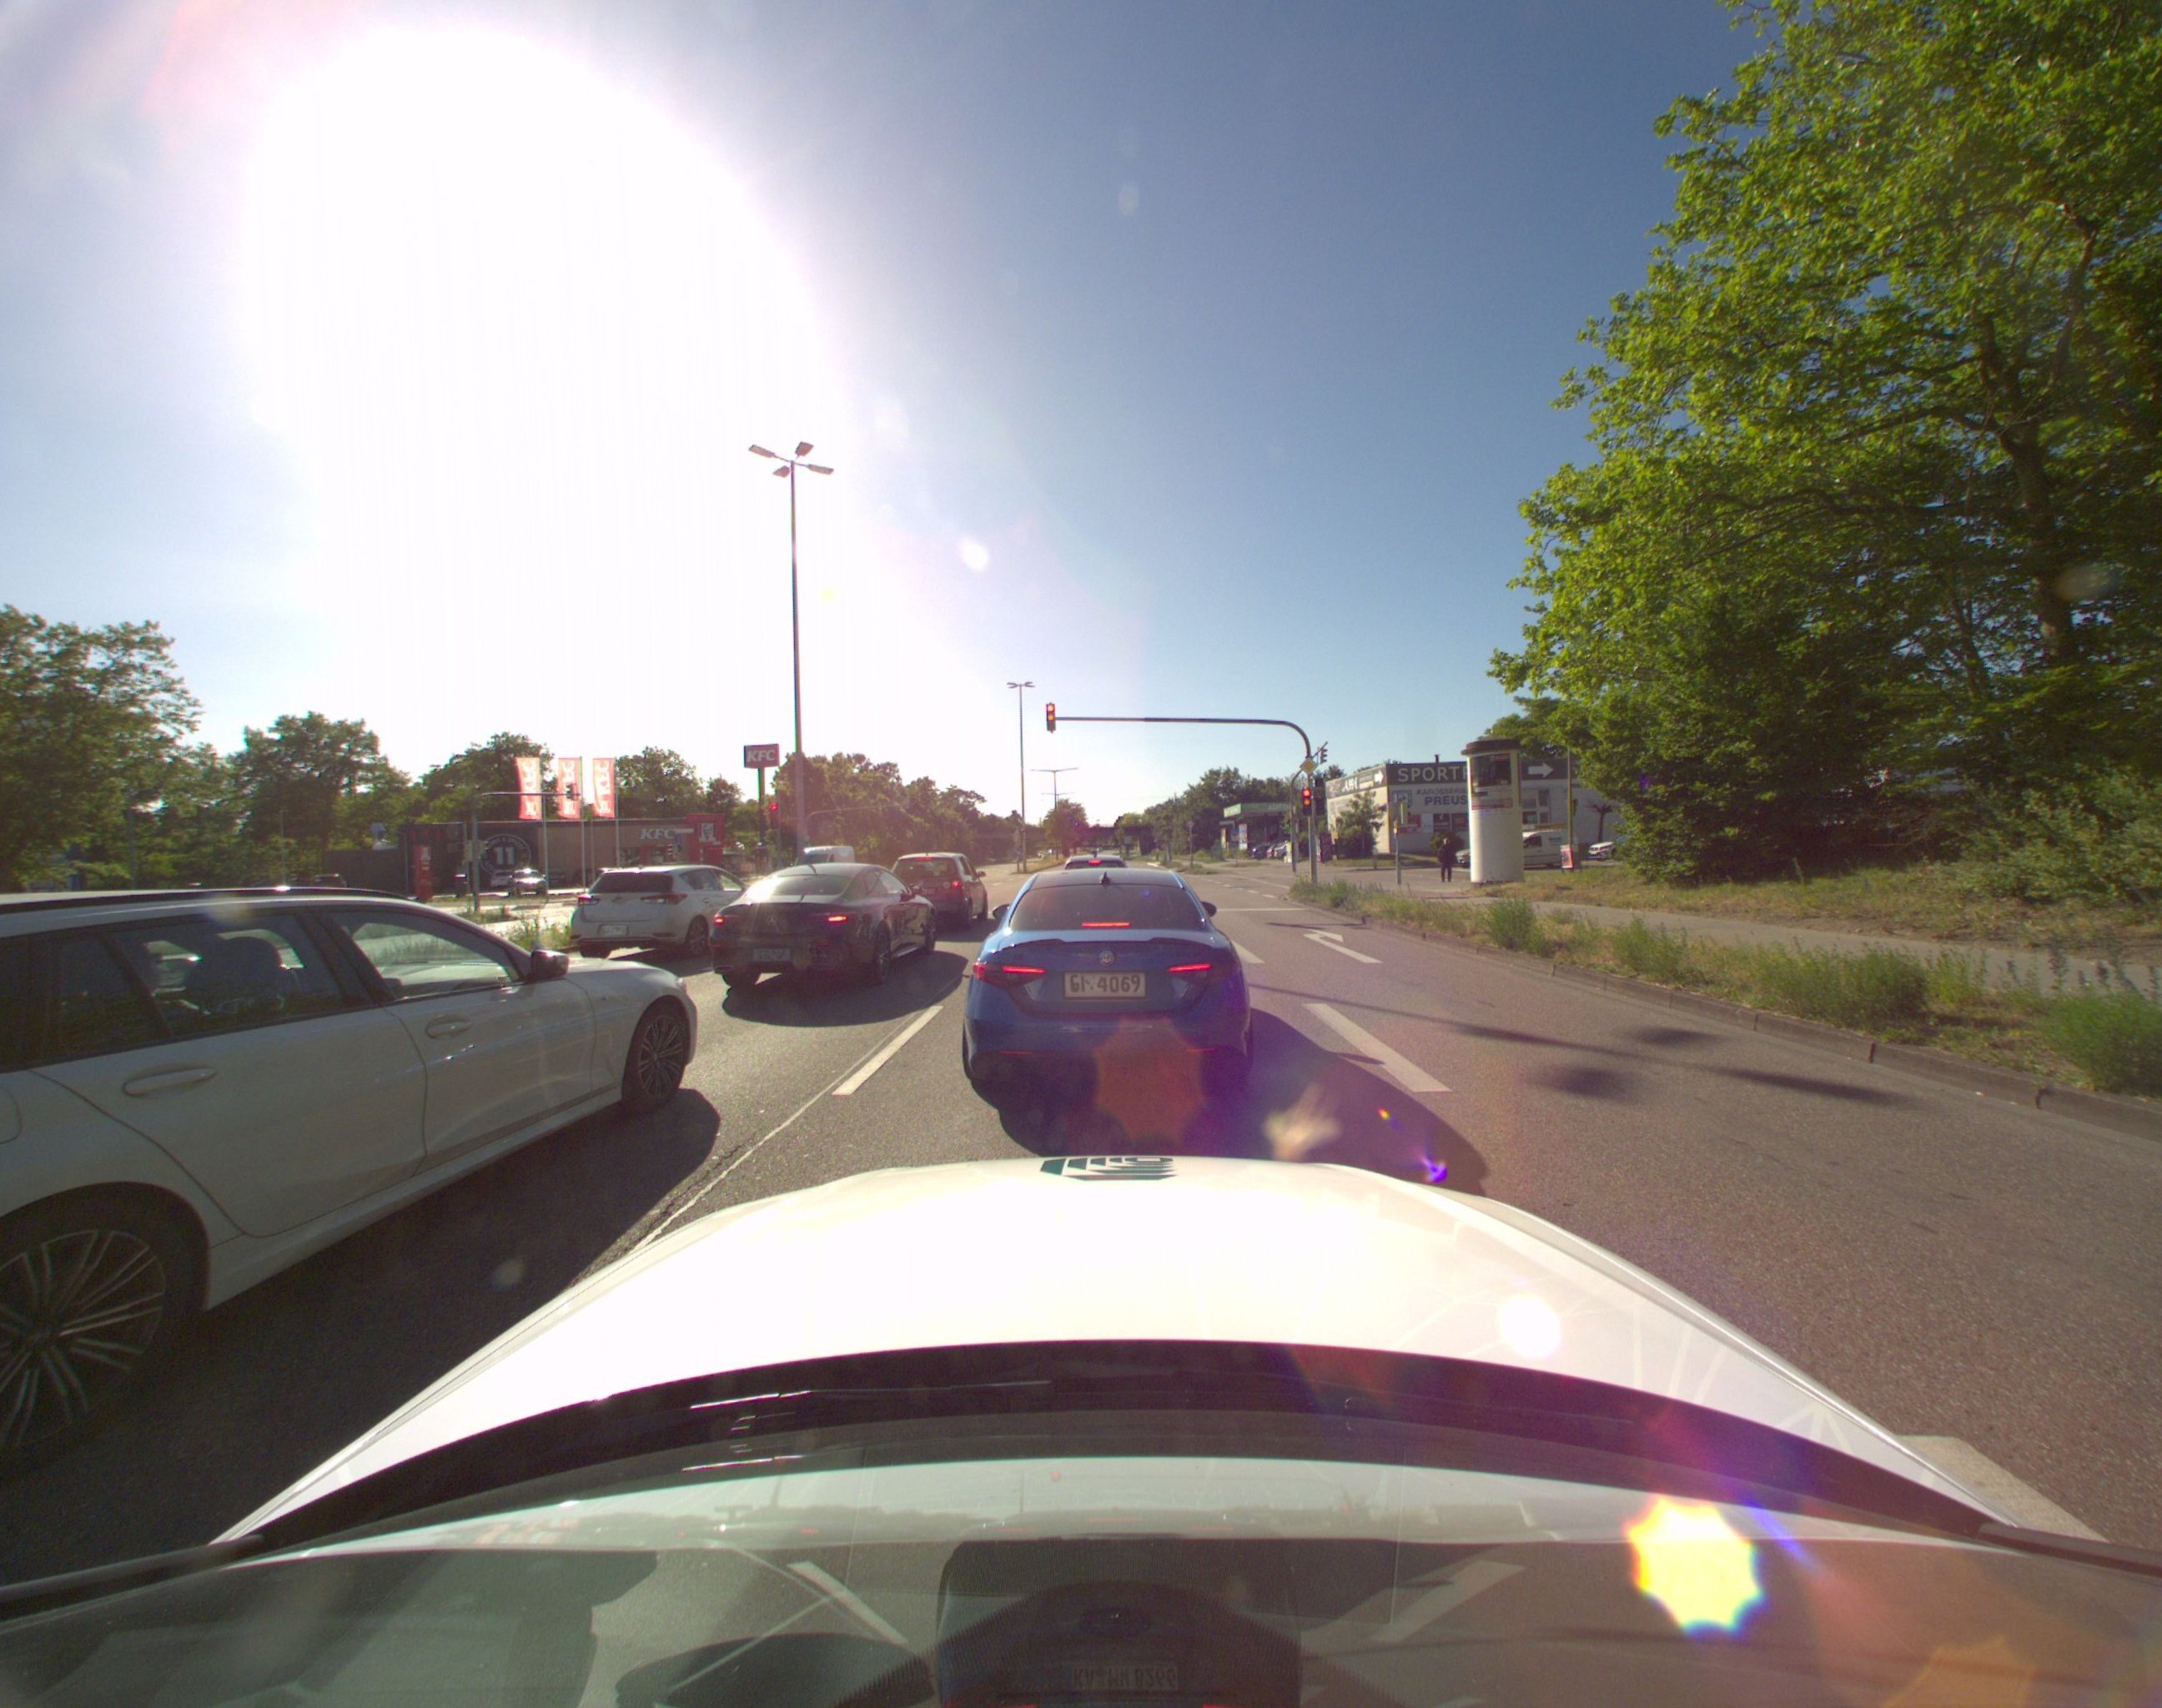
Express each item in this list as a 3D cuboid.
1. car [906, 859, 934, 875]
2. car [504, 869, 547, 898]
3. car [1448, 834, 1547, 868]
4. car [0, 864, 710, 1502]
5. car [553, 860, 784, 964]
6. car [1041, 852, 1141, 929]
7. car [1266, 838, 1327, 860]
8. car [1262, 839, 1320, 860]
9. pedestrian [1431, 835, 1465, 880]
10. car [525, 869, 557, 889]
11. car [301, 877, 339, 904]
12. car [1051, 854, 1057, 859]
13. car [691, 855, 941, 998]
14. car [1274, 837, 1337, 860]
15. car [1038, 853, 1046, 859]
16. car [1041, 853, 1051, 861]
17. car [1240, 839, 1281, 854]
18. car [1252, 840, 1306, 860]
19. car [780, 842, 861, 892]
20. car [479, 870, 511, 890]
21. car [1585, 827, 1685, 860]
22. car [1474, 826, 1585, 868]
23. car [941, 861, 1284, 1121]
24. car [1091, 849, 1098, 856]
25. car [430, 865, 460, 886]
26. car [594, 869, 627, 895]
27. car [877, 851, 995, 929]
[{"bbox_3d":[-16.957,1.341,86.046,1.752,1.490,4.480,-5,0,2],"label":"car"},{"bbox_3d":[-37.336,1.945,54.852,2.005,1.765,4.315,0,-1,-29],"label":"car"},{"bbox_3d":[21.767,-0.195,42.703,4.273,1.549,1.765,-3,1,0],"label":"car"},{"bbox_3d":[-3.428,0.802,3.295,1.779,1.490,4.403,0,0,1],"label":"car"},{"bbox_3d":[-6.763,0.857,13.942,1.753,1.490,4.197,0,-1,1],"label":"car"},{"bbox_3d":[0.217,0.697,17.348,1.844,1.418,4.403,0,0,1],"label":"car"},{"bbox_3d":[17.709,-0.408,67.093,4.470,1.454,1.860,-4,0,3],"label":"car"},{"bbox_3d":[17.987,-0.379,69.841,4.470,1.454,1.860,-4,0,3],"label":"car"},{"bbox_3d":[14.238,0.129,31.626,0.922,1.735,0.939,0,-1,1],"label":"pedestrian"},{"bbox_3d":[-43.145,1.963,65.051,1.670,1.471,3.872,0,-1,-40],"label":"car"},{"bbox_3d":[-52.371,2.471,56.087,1.670,1.673,3.897,0,-1,-40],"label":"car"},{"bbox_3d":[-7.902,0.679,239.802,1.609,1.559,3.359,0,-1,2],"label":"car"},{"bbox_3d":[-3.171,0.783,10.800,1.790,1.490,4.476,0,0,1],"label":"car"},{"bbox_3d":[17.703,-0.421,64.312,4.470,1.454,1.860,-4,0,3],"label":"car"},{"bbox_3d":[-9.916,0.475,207.223,1.752,1.490,4.480,-3,0,2],"label":"car"},{"bbox_3d":[-7.615,0.622,177.116,1.752,1.490,3.839,-3,0,2],"label":"car"},{"bbox_3d":[21.390,-0.878,97.004,4.532,1.490,1.766,-4,0,3],"label":"car"},{"bbox_3d":[17.946,-0.351,73.896,4.470,1.454,1.860,-4,0,3],"label":"car"},{"bbox_3d":[-14.401,0.662,45.472,2.013,2.447,5.829,-5,0,5],"label":"car"},{"bbox_3d":[-45.637,2.032,63.398,1.670,1.471,3.872,0,-1,-40],"label":"car"},{"bbox_3d":[29.022,-0.537,42.735,4.028,1.490,1.782,-3,0,-1],"label":"car"},{"bbox_3d":[21.636,-0.342,39.369,4.367,1.801,1.765,-3,1,0],"label":"car"},{"bbox_3d":[0.206,0.776,6.705,1.889,1.418,4.403,0,0,1],"label":"car"},{"bbox_3d":[3.915,-0.454,240.017,1.884,1.816,4.001,0,-1,2],"label":"car"},{"bbox_3d":[-47.637,1.571,60.981,1.670,1.471,3.872,0,-1,-40],"label":"car"},{"bbox_3d":[-33.666,1.939,58.332,1.920,1.752,4.315,0,-1,-29],"label":"car"},{"bbox_3d":[-3.025,0.718,17.903,1.753,1.490,4.403,0,0,1],"label":"car"}]
